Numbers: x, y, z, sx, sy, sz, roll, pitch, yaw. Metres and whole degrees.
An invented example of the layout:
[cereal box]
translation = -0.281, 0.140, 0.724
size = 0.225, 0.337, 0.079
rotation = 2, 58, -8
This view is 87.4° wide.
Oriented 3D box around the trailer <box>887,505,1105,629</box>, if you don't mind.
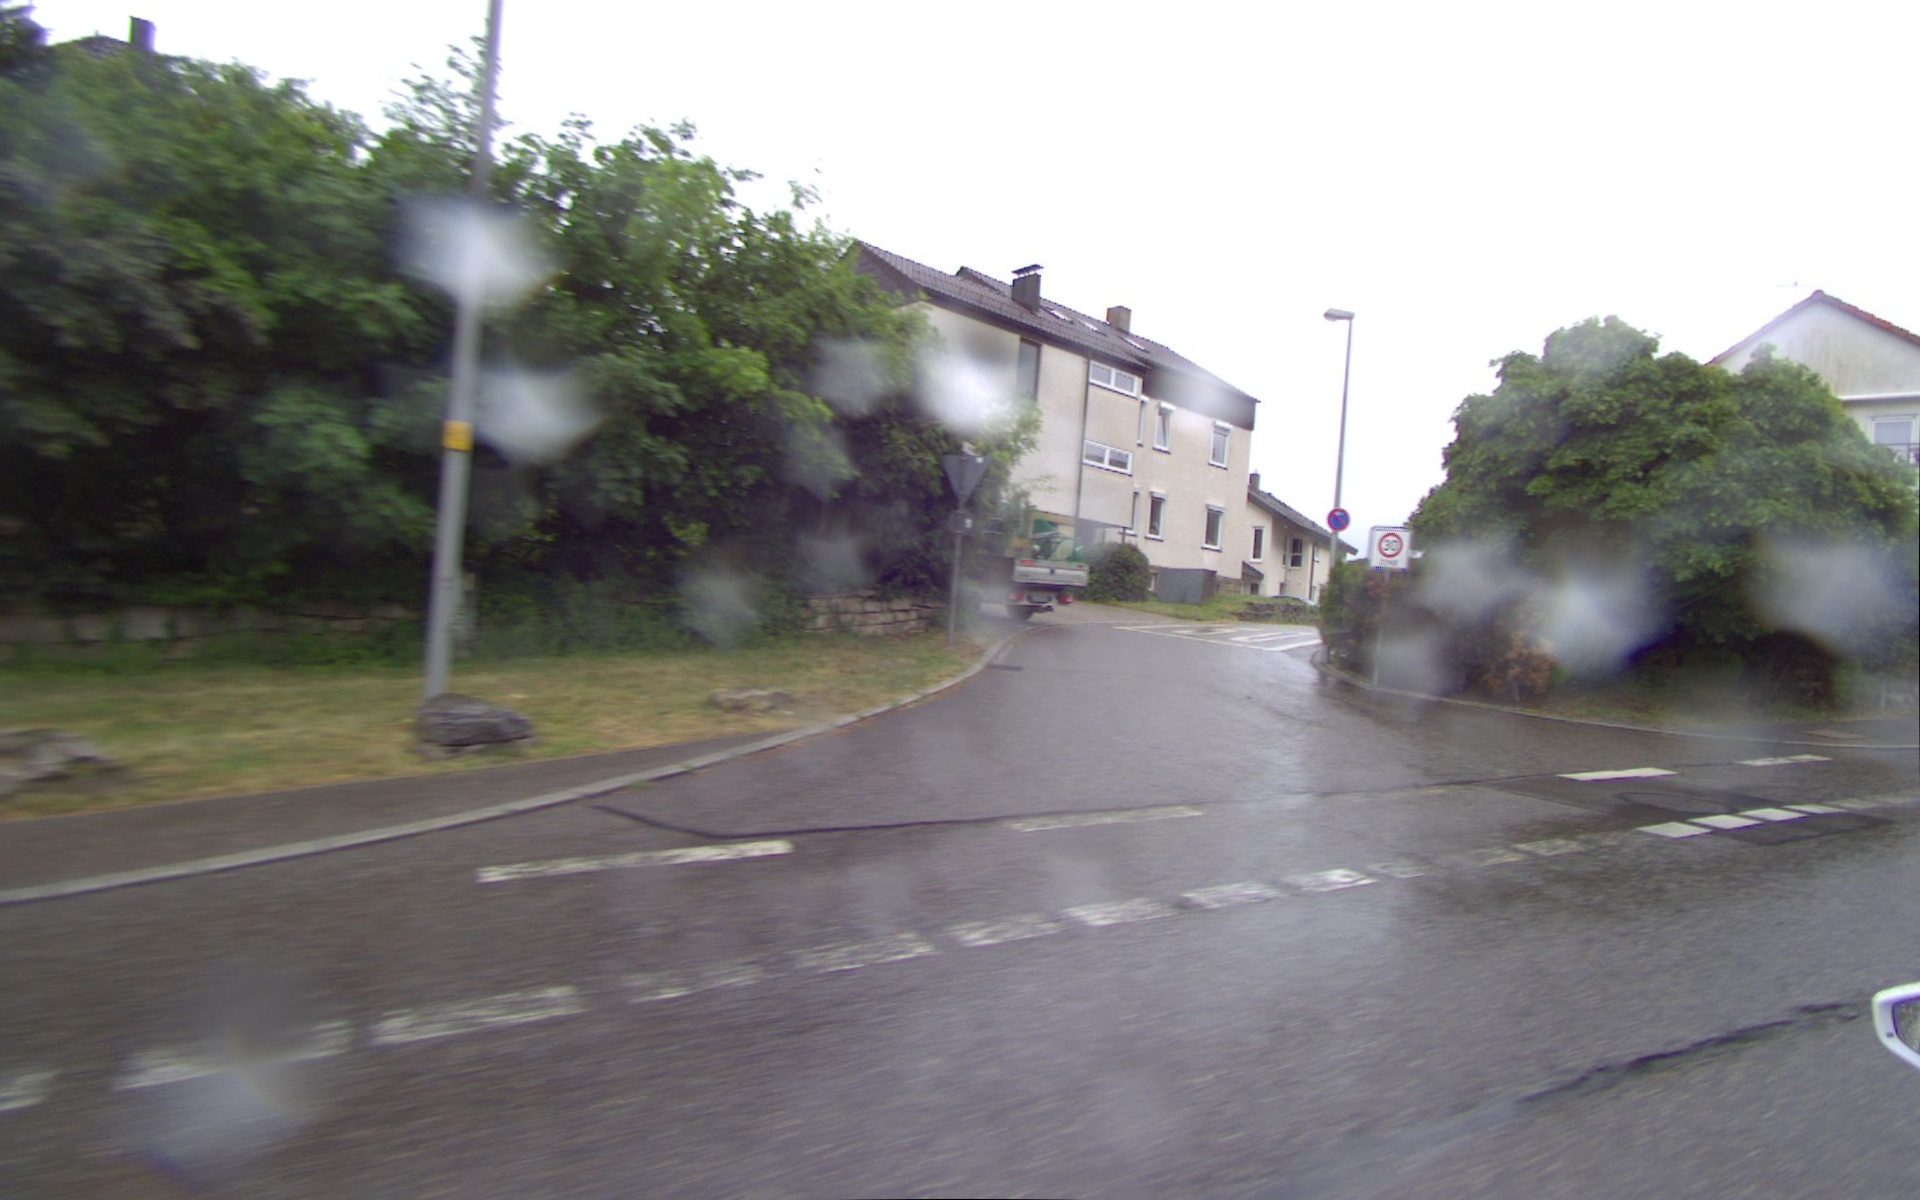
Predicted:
[trailer]
translation = 0.635, -0.714, 20.196
size = 2.145, 2.032, 3.952
rotation = 2, 6, -41
